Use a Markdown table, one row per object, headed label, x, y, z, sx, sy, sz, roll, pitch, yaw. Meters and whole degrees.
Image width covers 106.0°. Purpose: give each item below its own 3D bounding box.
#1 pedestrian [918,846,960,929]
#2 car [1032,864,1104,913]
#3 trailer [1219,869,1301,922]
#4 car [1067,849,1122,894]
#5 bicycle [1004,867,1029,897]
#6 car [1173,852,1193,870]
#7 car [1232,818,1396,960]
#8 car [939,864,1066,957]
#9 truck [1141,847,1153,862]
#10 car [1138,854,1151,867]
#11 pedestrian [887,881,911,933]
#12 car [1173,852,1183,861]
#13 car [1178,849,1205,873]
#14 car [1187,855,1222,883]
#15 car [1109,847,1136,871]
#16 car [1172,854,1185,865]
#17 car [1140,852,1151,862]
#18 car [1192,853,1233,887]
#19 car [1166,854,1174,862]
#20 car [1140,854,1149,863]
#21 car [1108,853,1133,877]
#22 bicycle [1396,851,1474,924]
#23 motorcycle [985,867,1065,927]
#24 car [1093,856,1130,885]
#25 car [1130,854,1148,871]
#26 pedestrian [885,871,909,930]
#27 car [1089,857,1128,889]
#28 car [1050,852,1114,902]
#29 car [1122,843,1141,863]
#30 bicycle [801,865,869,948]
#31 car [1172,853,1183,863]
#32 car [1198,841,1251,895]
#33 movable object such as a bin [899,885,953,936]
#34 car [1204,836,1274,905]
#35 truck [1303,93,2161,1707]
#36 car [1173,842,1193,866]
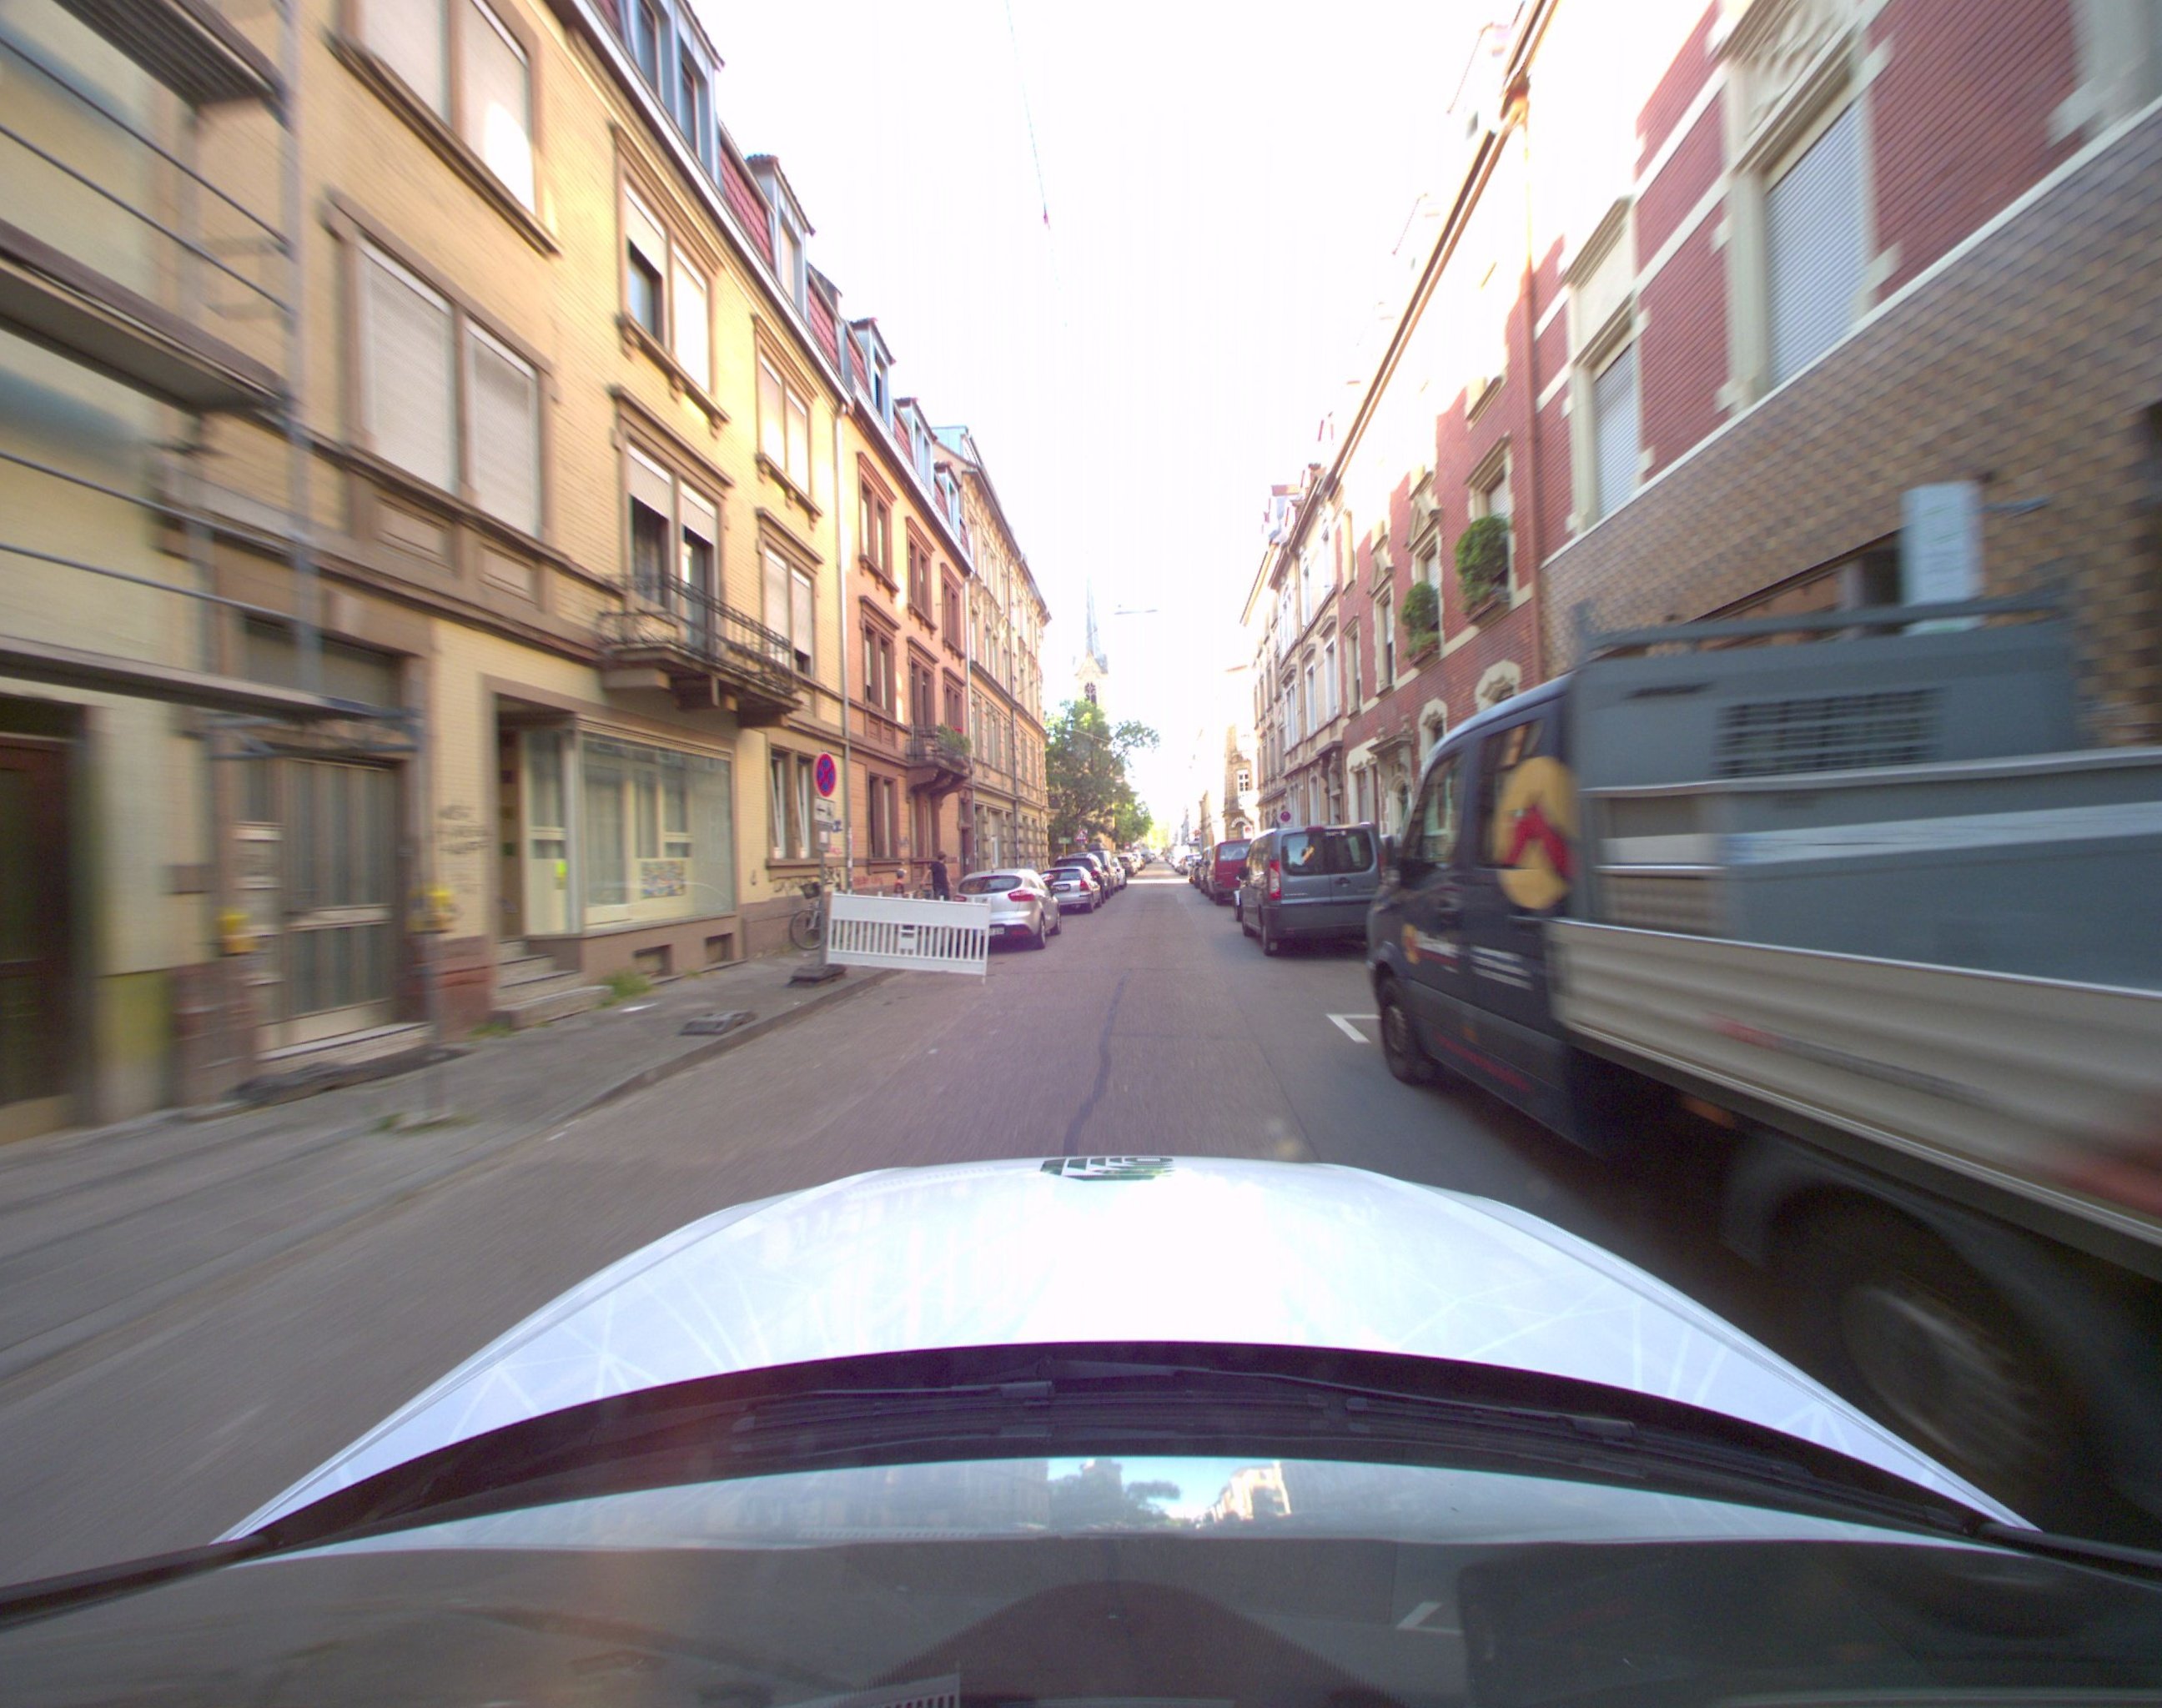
| label | x | y | z | sx | sy | sz | roll | pitch | yaw |
| --- | --- | --- | --- | --- | --- | --- | --- | --- | --- |
| pedestrian | -3.151 | 0.729 | 18.151 | 0.682 | 1.765 | 0.888 | -3 | 0 | 2 |
| car | -0.310 | 0.974 | 24.601 | 1.690 | 1.314 | 4.006 | 1 | 0 | 6 |
| trailer | 4.282 | 0.955 | 19.829 | 1.498 | 1.113 | 3.042 | 1 | 0 | 4 |
| car | 0.662 | 0.696 | 35.017 | 1.883 | 1.784 | 4.616 | -1 | 0 | 6 |
| bicycle | -2.566 | 1.112 | 32.492 | 0.663 | 1.125 | 1.788 | 0 | 0 | 6 |
| car | 9.749 | 0.647 | 78.193 | 1.798 | 1.690 | 4.221 | -1 | -1 | 6 |
| car | 3.699 | 0.493 | 13.751 | 1.836 | 1.984 | 4.583 | 0 | 0 | 5 |
| car | -1.367 | 0.981 | 15.795 | 1.666 | 1.419 | 4.005 | -4 | 0 | 5 |
| truck | 15.301 | 0.064 | 188.001 | 2.519 | 3.282 | 7.006 | -3 | 0 | 6 |
| car | 8.623 | 0.854 | 110.586 | 1.592 | 1.614 | 3.813 | -5 | -1 | 5 |
| pedestrian | -3.915 | 1.132 | 17.511 | 0.392 | 1.086 | 0.432 | -2 | 0 | 0 |
| car | 18.887 | 0.448 | 158.027 | 1.760 | 1.741 | 4.007 | -3 | 0 | 6 |
| car | 8.612 | 0.535 | 63.720 | 1.696 | 1.714 | 3.942 | -3 | 0 | 4 |
| car | 6.830 | 0.786 | 45.472 | 1.697 | 1.459 | 4.519 | -1 | 0 | 6 |
| car | 3.520 | 0.398 | 68.019 | 1.836 | 1.862 | 4.473 | -3 | 0 | 7 |
| car | 13.049 | 0.727 | 108.767 | 1.595 | 1.505 | 4.008 | -1 | 0 | 7 |
| car | 11.803 | 0.543 | 149.677 | 1.866 | 1.796 | 4.007 | -3 | 0 | 6 |
| car | 6.294 | 0.742 | 39.310 | 1.658 | 1.479 | 3.894 | -3 | 0 | 6 |
| car | 23.356 | 1.009 | 213.493 | 1.983 | 2.013 | 4.007 | -3 | 0 | 6 |
| car | 13.327 | 0.887 | 171.437 | 1.867 | 1.796 | 4.004 | -3 | 0 | 4 |
| car | 3.052 | 0.806 | 62.343 | 1.733 | 1.646 | 4.293 | -3 | 0 | 3 |
| bicycle | 6.584 | 0.594 | 15.269 | 0.665 | 1.222 | 1.995 | -6 | -1 | 6 |
| motorcycle | -1.435 | 1.083 | 20.477 | 0.848 | 1.360 | 2.172 | -5 | -1 | -37 |
| car | 1.718 | 0.842 | 44.570 | 1.714 | 1.481 | 4.096 | -1 | 0 | 6 |
| car | 6.017 | 0.855 | 84.030 | 1.733 | 1.586 | 3.875 | -2 | 0 | 6 |
| pedestrian | -4.147 | 1.039 | 18.389 | 0.392 | 1.306 | 0.432 | -2 | 0 | 0 |
| car | 1.373 | 0.880 | 39.355 | 1.666 | 1.420 | 3.879 | -1 | 0 | 4 |
| car | 0.123 | 0.777 | 29.553 | 1.778 | 1.624 | 4.616 | -1 | 0 | 7 |
| car | 5.585 | -0.118 | 89.567 | 1.855 | 1.957 | 4.617 | -4 | 0 | 5 |
| bicycle | -4.478 | 0.919 | 14.941 | 0.521 | 1.425 | 1.715 | 1 | 0 | 6 |
| car | 16.296 | 0.667 | 137.609 | 1.888 | 1.488 | 3.876 | -3 | 0 | 6 |
| car | 5.628 | 0.508 | 32.302 | 1.761 | 1.961 | 4.271 | -1 | 0 | 6 |
| movable object such as a bin | -3.211 | 1.152 | 16.992 | 0.758 | 0.932 | 1.416 | -3 | 0 | 2 |
| car | 5.057 | 0.484 | 26.587 | 1.823 | 2.013 | 4.749 | -1 | 0 | 6 |
| truck | 2.868 | 0.128 | 3.542 | 2.139 | 2.657 | 6.259 | -7 | 0 | 3 |
| car | 11.602 | -0.002 | 93.010 | 2.058 | 2.611 | 5.897 | -2 | 0 | 6 |
